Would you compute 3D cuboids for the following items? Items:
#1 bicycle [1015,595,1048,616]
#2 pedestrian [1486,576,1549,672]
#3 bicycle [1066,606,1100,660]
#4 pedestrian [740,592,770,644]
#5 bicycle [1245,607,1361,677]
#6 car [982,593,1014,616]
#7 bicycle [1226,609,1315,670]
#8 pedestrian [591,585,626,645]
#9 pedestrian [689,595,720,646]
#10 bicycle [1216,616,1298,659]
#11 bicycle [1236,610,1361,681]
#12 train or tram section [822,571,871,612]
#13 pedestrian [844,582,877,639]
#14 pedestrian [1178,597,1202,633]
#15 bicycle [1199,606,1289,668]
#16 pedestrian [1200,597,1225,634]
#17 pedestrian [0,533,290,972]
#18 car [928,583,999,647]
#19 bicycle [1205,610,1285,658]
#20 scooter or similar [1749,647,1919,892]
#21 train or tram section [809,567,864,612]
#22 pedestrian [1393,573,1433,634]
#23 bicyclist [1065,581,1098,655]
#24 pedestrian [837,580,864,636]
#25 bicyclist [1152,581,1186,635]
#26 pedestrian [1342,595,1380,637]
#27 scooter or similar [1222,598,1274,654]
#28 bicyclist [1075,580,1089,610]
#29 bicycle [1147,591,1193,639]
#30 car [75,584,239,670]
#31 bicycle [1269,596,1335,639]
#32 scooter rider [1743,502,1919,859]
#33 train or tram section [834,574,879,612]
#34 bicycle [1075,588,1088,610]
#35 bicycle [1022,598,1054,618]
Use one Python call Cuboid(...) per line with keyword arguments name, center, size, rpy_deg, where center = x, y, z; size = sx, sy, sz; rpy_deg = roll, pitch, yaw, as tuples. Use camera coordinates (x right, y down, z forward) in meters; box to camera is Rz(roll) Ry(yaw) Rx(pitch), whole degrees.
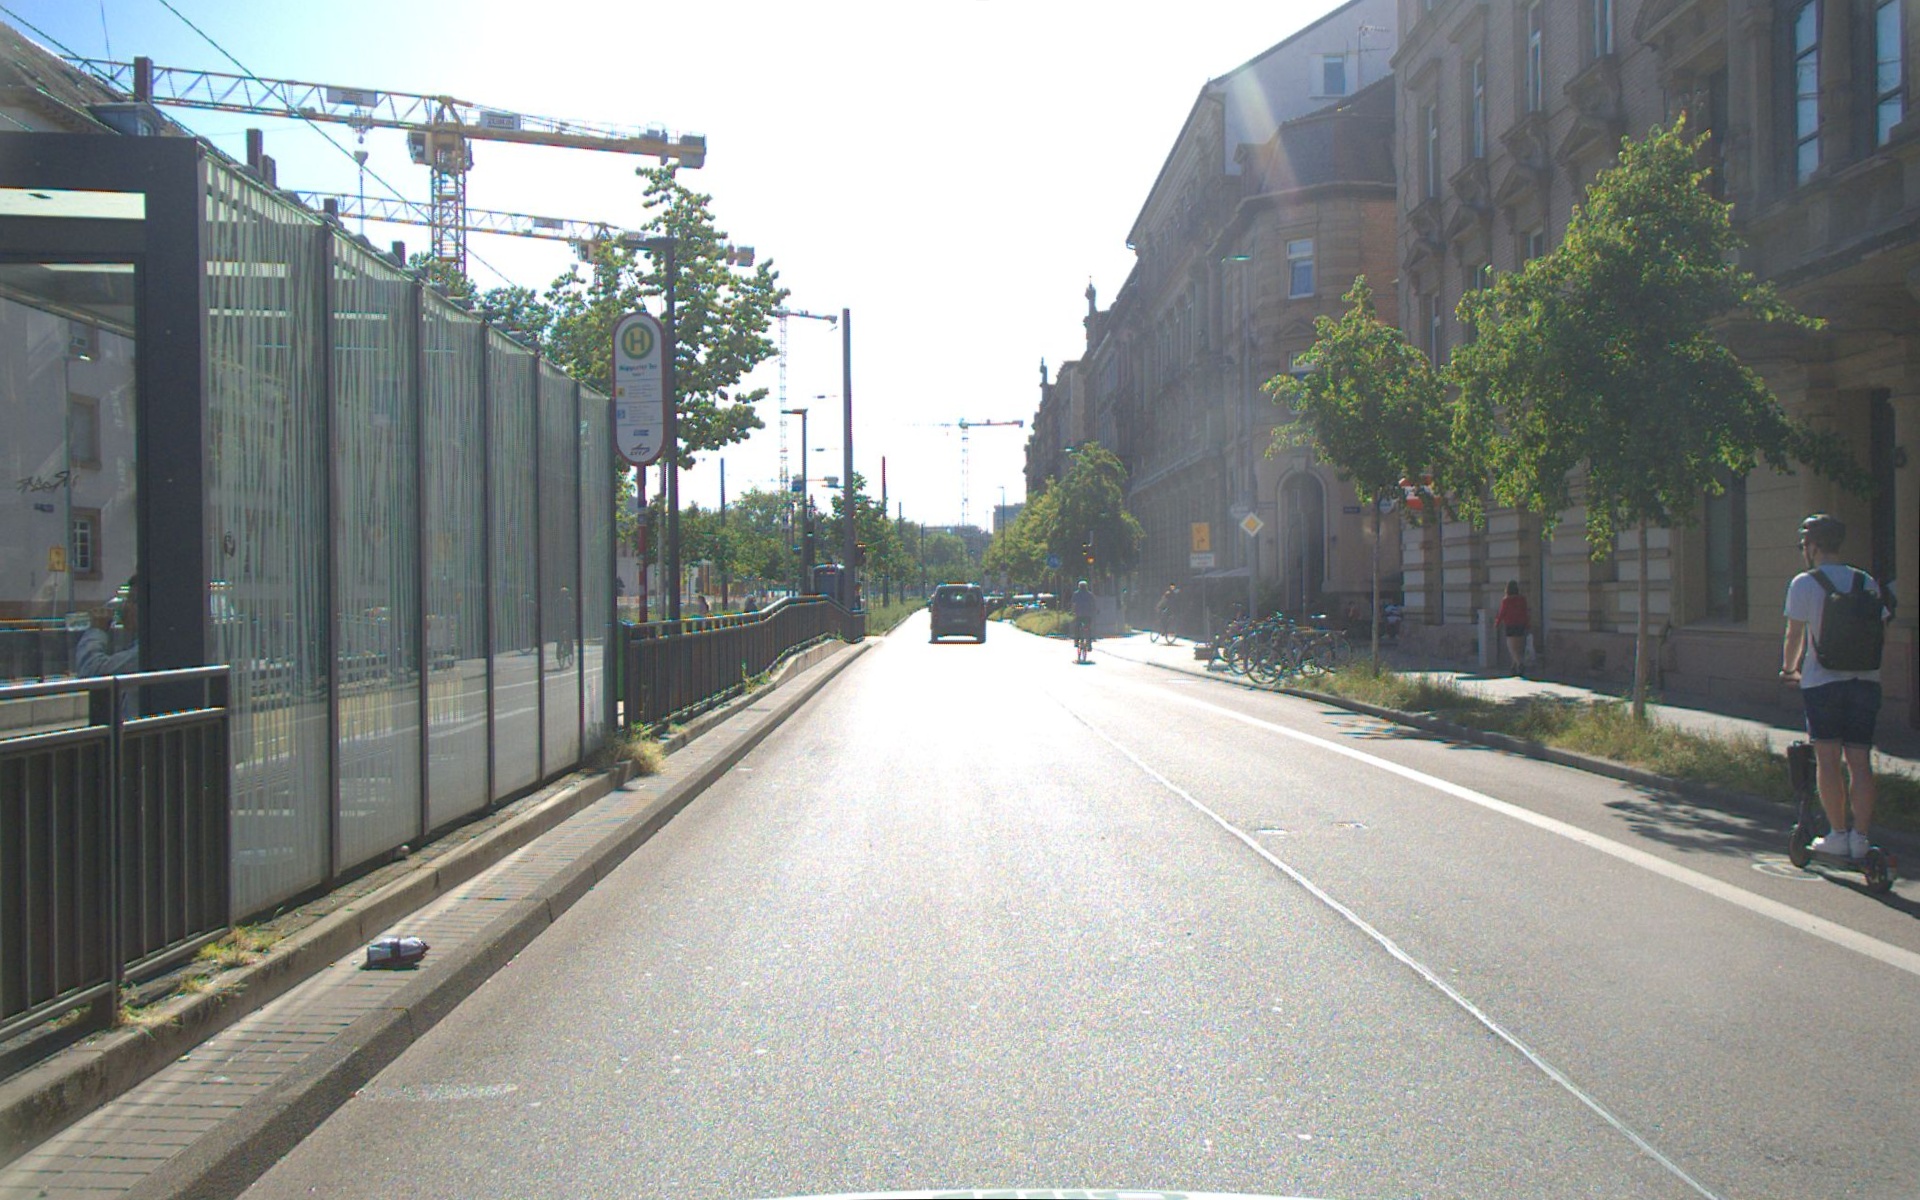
Cuboid(name="bicycle", center=(4.045, 0.316, 93.912), size=(1.757, 1.048, 0.527), rpy_deg=(-5, 0, -2))
Cuboid(name="pedestrian", center=(9.305, 0.394, 27.623), size=(0.695, 1.569, 0.927), rpy_deg=(-1, 0, -1))
Cuboid(name="bicycle", center=(2.860, 0.754, 38.640), size=(0.589, 1.201, 1.868), rpy_deg=(1, 0, -2))
Cuboid(name="pedestrian", center=(-6.209, 0.545, 50.177), size=(0.796, 1.563, 0.798), rpy_deg=(0, 0, 0))
Cuboid(name="bicycle", center=(6.358, 0.771, 30.729), size=(1.954, 1.148, 0.710), rpy_deg=(-3, 0, 0))
Cuboid(name="car", center=(2.684, 0.327, 117.488), size=(1.987, 1.525, 4.653), rpy_deg=(-1, 0, -1))
Cuboid(name="bicycle", center=(6.002, 0.764, 32.032), size=(1.566, 1.063, 0.607), rpy_deg=(-3, 0, 2))
Cuboid(name="pedestrian", center=(-10.741, 0.464, 50.565), size=(0.847, 1.812, 0.910), rpy_deg=(0, 0, 3))
Cuboid(name="pedestrian", center=(-7.888, 0.630, 51.077), size=(0.847, 1.563, 0.909), rpy_deg=(0, 0, -1))
Cuboid(name="bicycle", center=(6.295, 0.790, 35.072), size=(1.635, 0.835, 0.607), rpy_deg=(-2, 0, 5))
Cuboid(name="bicycle", center=(5.994, 0.794, 29.348), size=(1.959, 1.111, 0.845), rpy_deg=(-4, 0, -11))
Cuboid(name="train or tram section", center=(-8.060, -0.553, 118.596), size=(2.699, 2.791, 9.864), rpy_deg=(1, -1, 1))
Cuboid(name="pedestrian", center=(-3.403, 0.357, 56.526), size=(1.055, 1.942, 0.652), rpy_deg=(-1, 0, -8))
Cuboid(name="pedestrian", center=(7.941, 0.522, 57.046), size=(0.691, 1.198, 0.635), rpy_deg=(-3, 0, -1))
Cuboid(name="bicycle", center=(5.755, 0.746, 33.581), size=(1.688, 1.120, 0.607), rpy_deg=(-3, 0, 2))
Cuboid(name="pedestrian", center=(8.716, 0.529, 57.123), size=(0.691, 1.258, 0.635), rpy_deg=(-3, 0, -1))
Cuboid(name="pedestrian", center=(-3.137, 0.544, 6.323), size=(0.796, 1.563, 0.798), rpy_deg=(-1, 0, 0))
Cuboid(name="car", center=(0.071, 0.474, 53.858), size=(2.155, 1.960, 4.653), rpy_deg=(-1, 0, -1))
Cuboid(name="bicycle", center=(6.146, 0.726, 35.735), size=(1.635, 0.960, 0.607), rpy_deg=(-2, 0, 6))
Cuboid(name="scooter or similar", center=(4.968, 0.909, 9.276), size=(0.481, 1.248, 1.170), rpy_deg=(1, 0, -2))
Cuboid(name="train or tram section", center=(-8.029, -0.635, 108.750), size=(2.699, 2.791, 9.864), rpy_deg=(1, -1, 1))
Cuboid(name="pedestrian", center=(13.518, 0.098, 49.383), size=(0.889, 1.791, 0.866), rpy_deg=(0, 0, -8))
Cuboid(name="bicyclist", center=(2.859, 0.420, 38.947), size=(0.670, 1.702, 0.922), rpy_deg=(1, 0, -2))
Cuboid(name="pedestrian", center=(-3.593, 0.251, 54.228), size=(0.848, 1.819, 0.969), rpy_deg=(0, 0, -7))
Cuboid(name="bicyclist", center=(6.243, 0.250, 49.444), size=(0.649, 1.556, 0.797), rpy_deg=(-5, 0, -15))
Cuboid(name="pedestrian", center=(11.902, 0.459, 49.126), size=(0.833, 1.235, 0.932), rpy_deg=(0, 0, -8))
Cuboid(name="scooter or similar", center=(6.460, 0.576, 37.151), size=(1.087, 1.210, 0.419), rpy_deg=(-2, 0, 6))
Cuboid(name="bicyclist", center=(6.769, -0.275, 91.843), size=(0.653, 1.668, 0.960), rpy_deg=(-1, 0, -1))
Cuboid(name="bicycle", center=(6.272, 0.450, 49.434), size=(0.605, 1.353, 1.892), rpy_deg=(-5, 0, -14))
Cuboid(name="car", center=(-18.100, 0.595, 37.499), size=(1.783, 1.826, 4.087), rpy_deg=(1, -1, -2))
Cuboid(name="bicycle", center=(9.928, 0.505, 48.038), size=(1.779, 1.191, 0.654), rpy_deg=(-1, 3, 3))
Cuboid(name="scooter rider", center=(4.942, 0.429, 9.260), size=(0.653, 1.893, 0.901), rpy_deg=(1, 0, -2))
Cuboid(name="train or tram section", center=(-7.969, -0.470, 128.464), size=(2.699, 2.791, 9.864), rpy_deg=(1, -1, 1))
Cuboid(name="bicycle", center=(6.751, -0.064, 92.056), size=(0.571, 1.244, 1.899), rpy_deg=(-1, 0, -1))
Cuboid(name="bicycle", center=(4.354, 0.443, 92.573), size=(1.756, 1.048, 0.527), rpy_deg=(-1, 0, -2))
